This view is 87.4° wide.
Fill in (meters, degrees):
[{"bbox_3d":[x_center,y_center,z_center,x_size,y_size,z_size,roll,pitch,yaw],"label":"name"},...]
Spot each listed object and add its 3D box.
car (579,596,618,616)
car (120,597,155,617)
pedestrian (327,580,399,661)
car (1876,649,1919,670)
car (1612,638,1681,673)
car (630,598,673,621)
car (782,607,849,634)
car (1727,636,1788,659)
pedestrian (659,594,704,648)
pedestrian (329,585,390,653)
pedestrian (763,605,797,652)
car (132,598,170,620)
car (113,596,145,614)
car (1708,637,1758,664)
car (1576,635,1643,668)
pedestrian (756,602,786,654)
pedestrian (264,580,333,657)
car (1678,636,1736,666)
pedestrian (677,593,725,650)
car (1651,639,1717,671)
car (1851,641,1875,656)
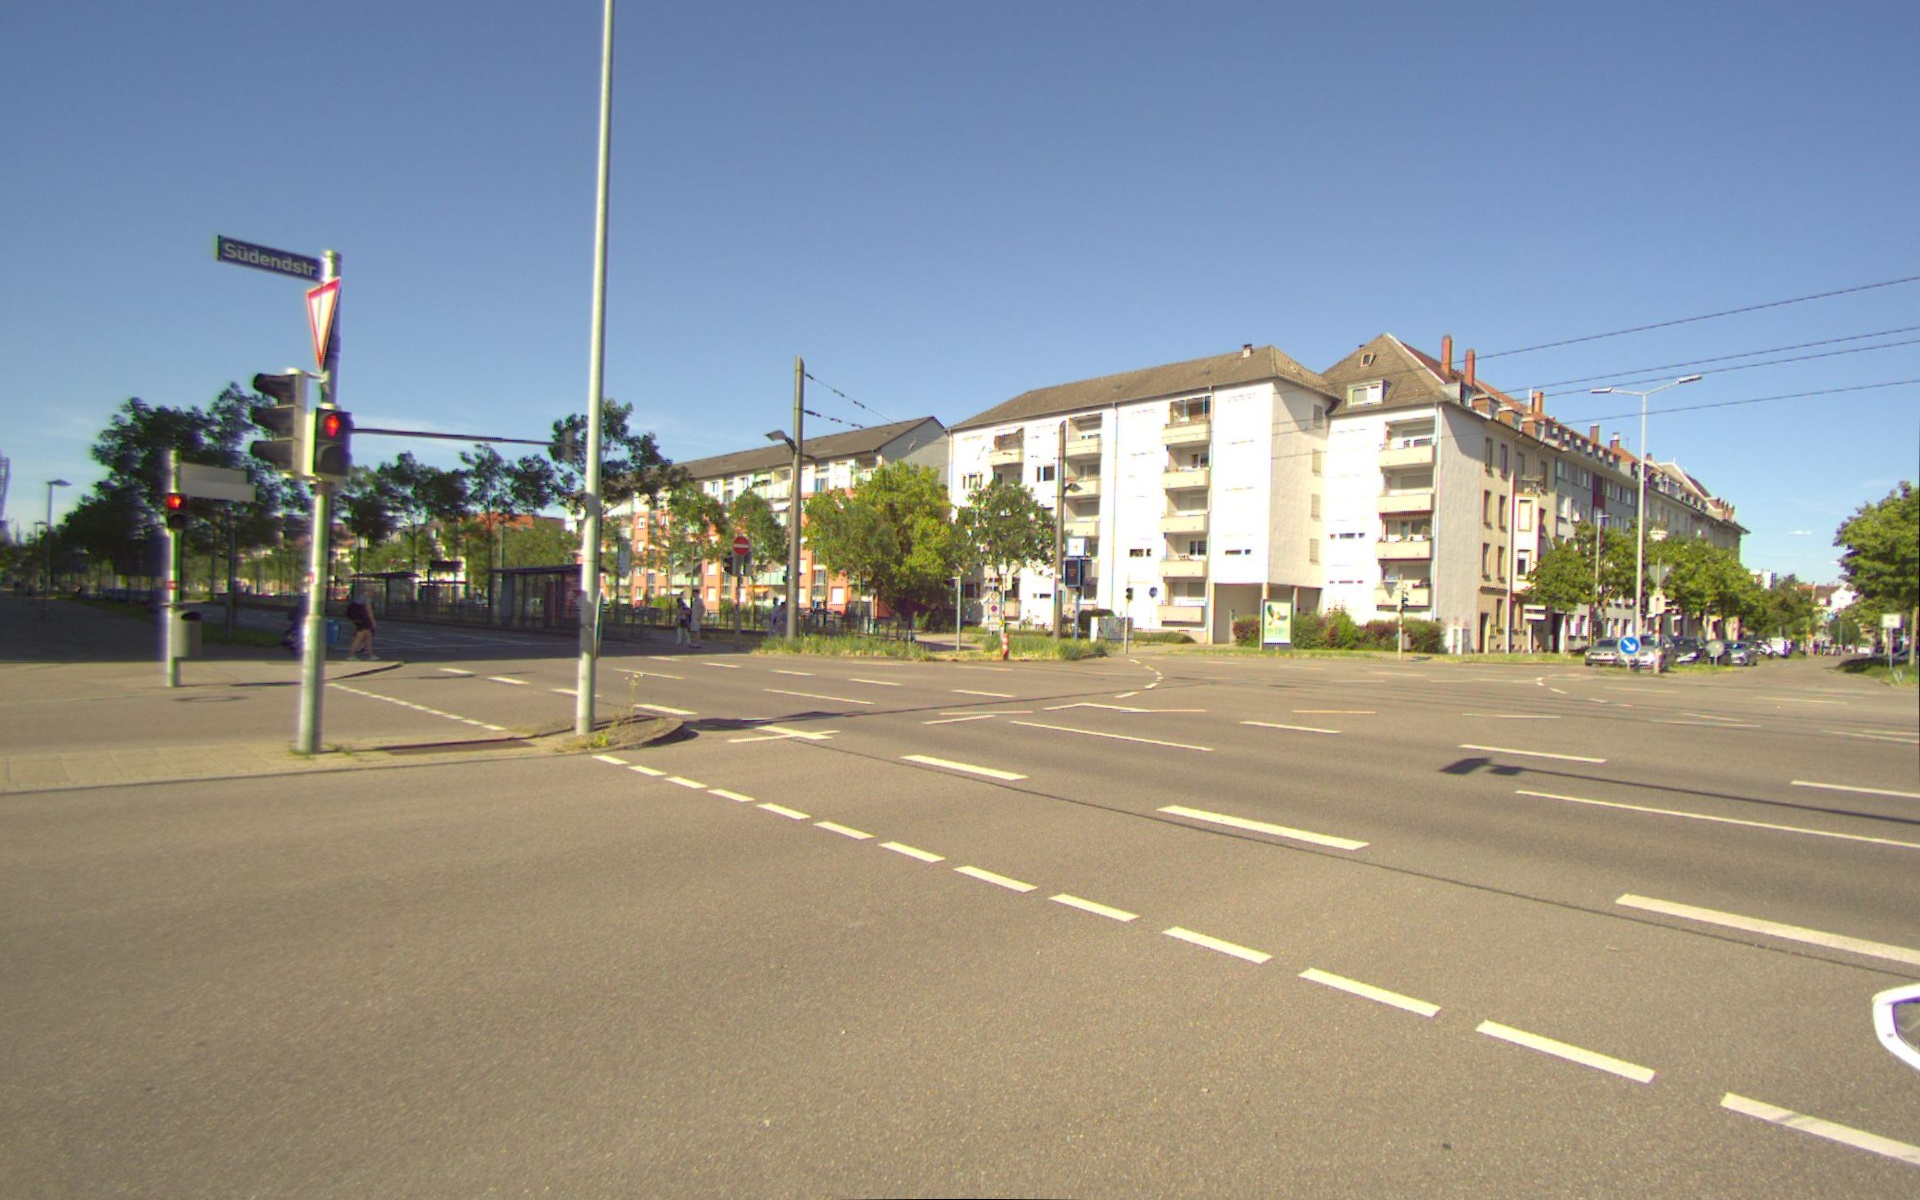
[{"bbox_3d":[-34.537,0.575,95.840,3.946,1.873,1.988,1,-1,45],"label":"car"},{"bbox_3d":[-66.666,0.528,81.415,3.946,1.540,1.771,0,-2,45],"label":"car"},{"bbox_3d":[-13.235,0.458,22.272,0.801,1.749,1.148,1,-1,41],"label":"pedestrian"},{"bbox_3d":[64.450,4.086,67.992,1.720,1.239,3.532,4,-1,-44],"label":"car"},{"bbox_3d":[31.971,2.572,46.744,4.369,1.451,1.672,3,1,-43],"label":"car"},{"bbox_3d":[-27.203,0.818,88.471,3.946,1.873,1.988,1,-1,45],"label":"car"},{"bbox_3d":[-9.617,1.360,67.080,4.317,1.451,1.692,4,1,-5],"label":"car"},{"bbox_3d":[78.094,4.640,98.370,4.457,2.040,1.988,2,-1,44],"label":"car"},{"bbox_3d":[-9.236,0.697,33.301,0.801,1.749,1.148,1,-1,41],"label":"pedestrian"},{"bbox_3d":[-15.866,0.516,26.559,0.801,1.749,1.148,1,-1,41],"label":"pedestrian"},{"bbox_3d":[-6.057,0.949,33.806,0.716,1.554,0.854,1,-1,41],"label":"pedestrian"},{"bbox_3d":[-60.302,0.652,74.876,3.946,1.540,1.771,0,-2,45],"label":"car"},{"bbox_3d":[-73.666,0.438,89.025,3.946,1.540,1.771,0,-2,45],"label":"car"},{"bbox_3d":[47.233,3.096,61.339,4.369,1.451,1.672,3,1,-43],"label":"car"},{"bbox_3d":[32.683,2.591,50.501,4.367,1.451,1.673,3,1,-42],"label":"car"},{"bbox_3d":[-6.617,0.972,35.207,0.797,1.749,1.154,2,-1,-2],"label":"pedestrian"},{"bbox_3d":[-15.514,0.433,23.560,0.801,1.749,1.148,1,-1,41],"label":"pedestrian"},{"bbox_3d":[41.217,2.810,55.413,4.367,1.451,1.673,3,1,-42],"label":"car"},{"bbox_3d":[-8.331,0.699,32.349,0.910,1.794,1.148,1,-1,41],"label":"pedestrian"},{"bbox_3d":[36.839,2.793,51.090,4.365,1.451,1.674,3,1,-40],"label":"car"},{"bbox_3d":[119.947,6.421,133.414,4.491,1.779,1.974,4,-2,-44],"label":"car"}]
